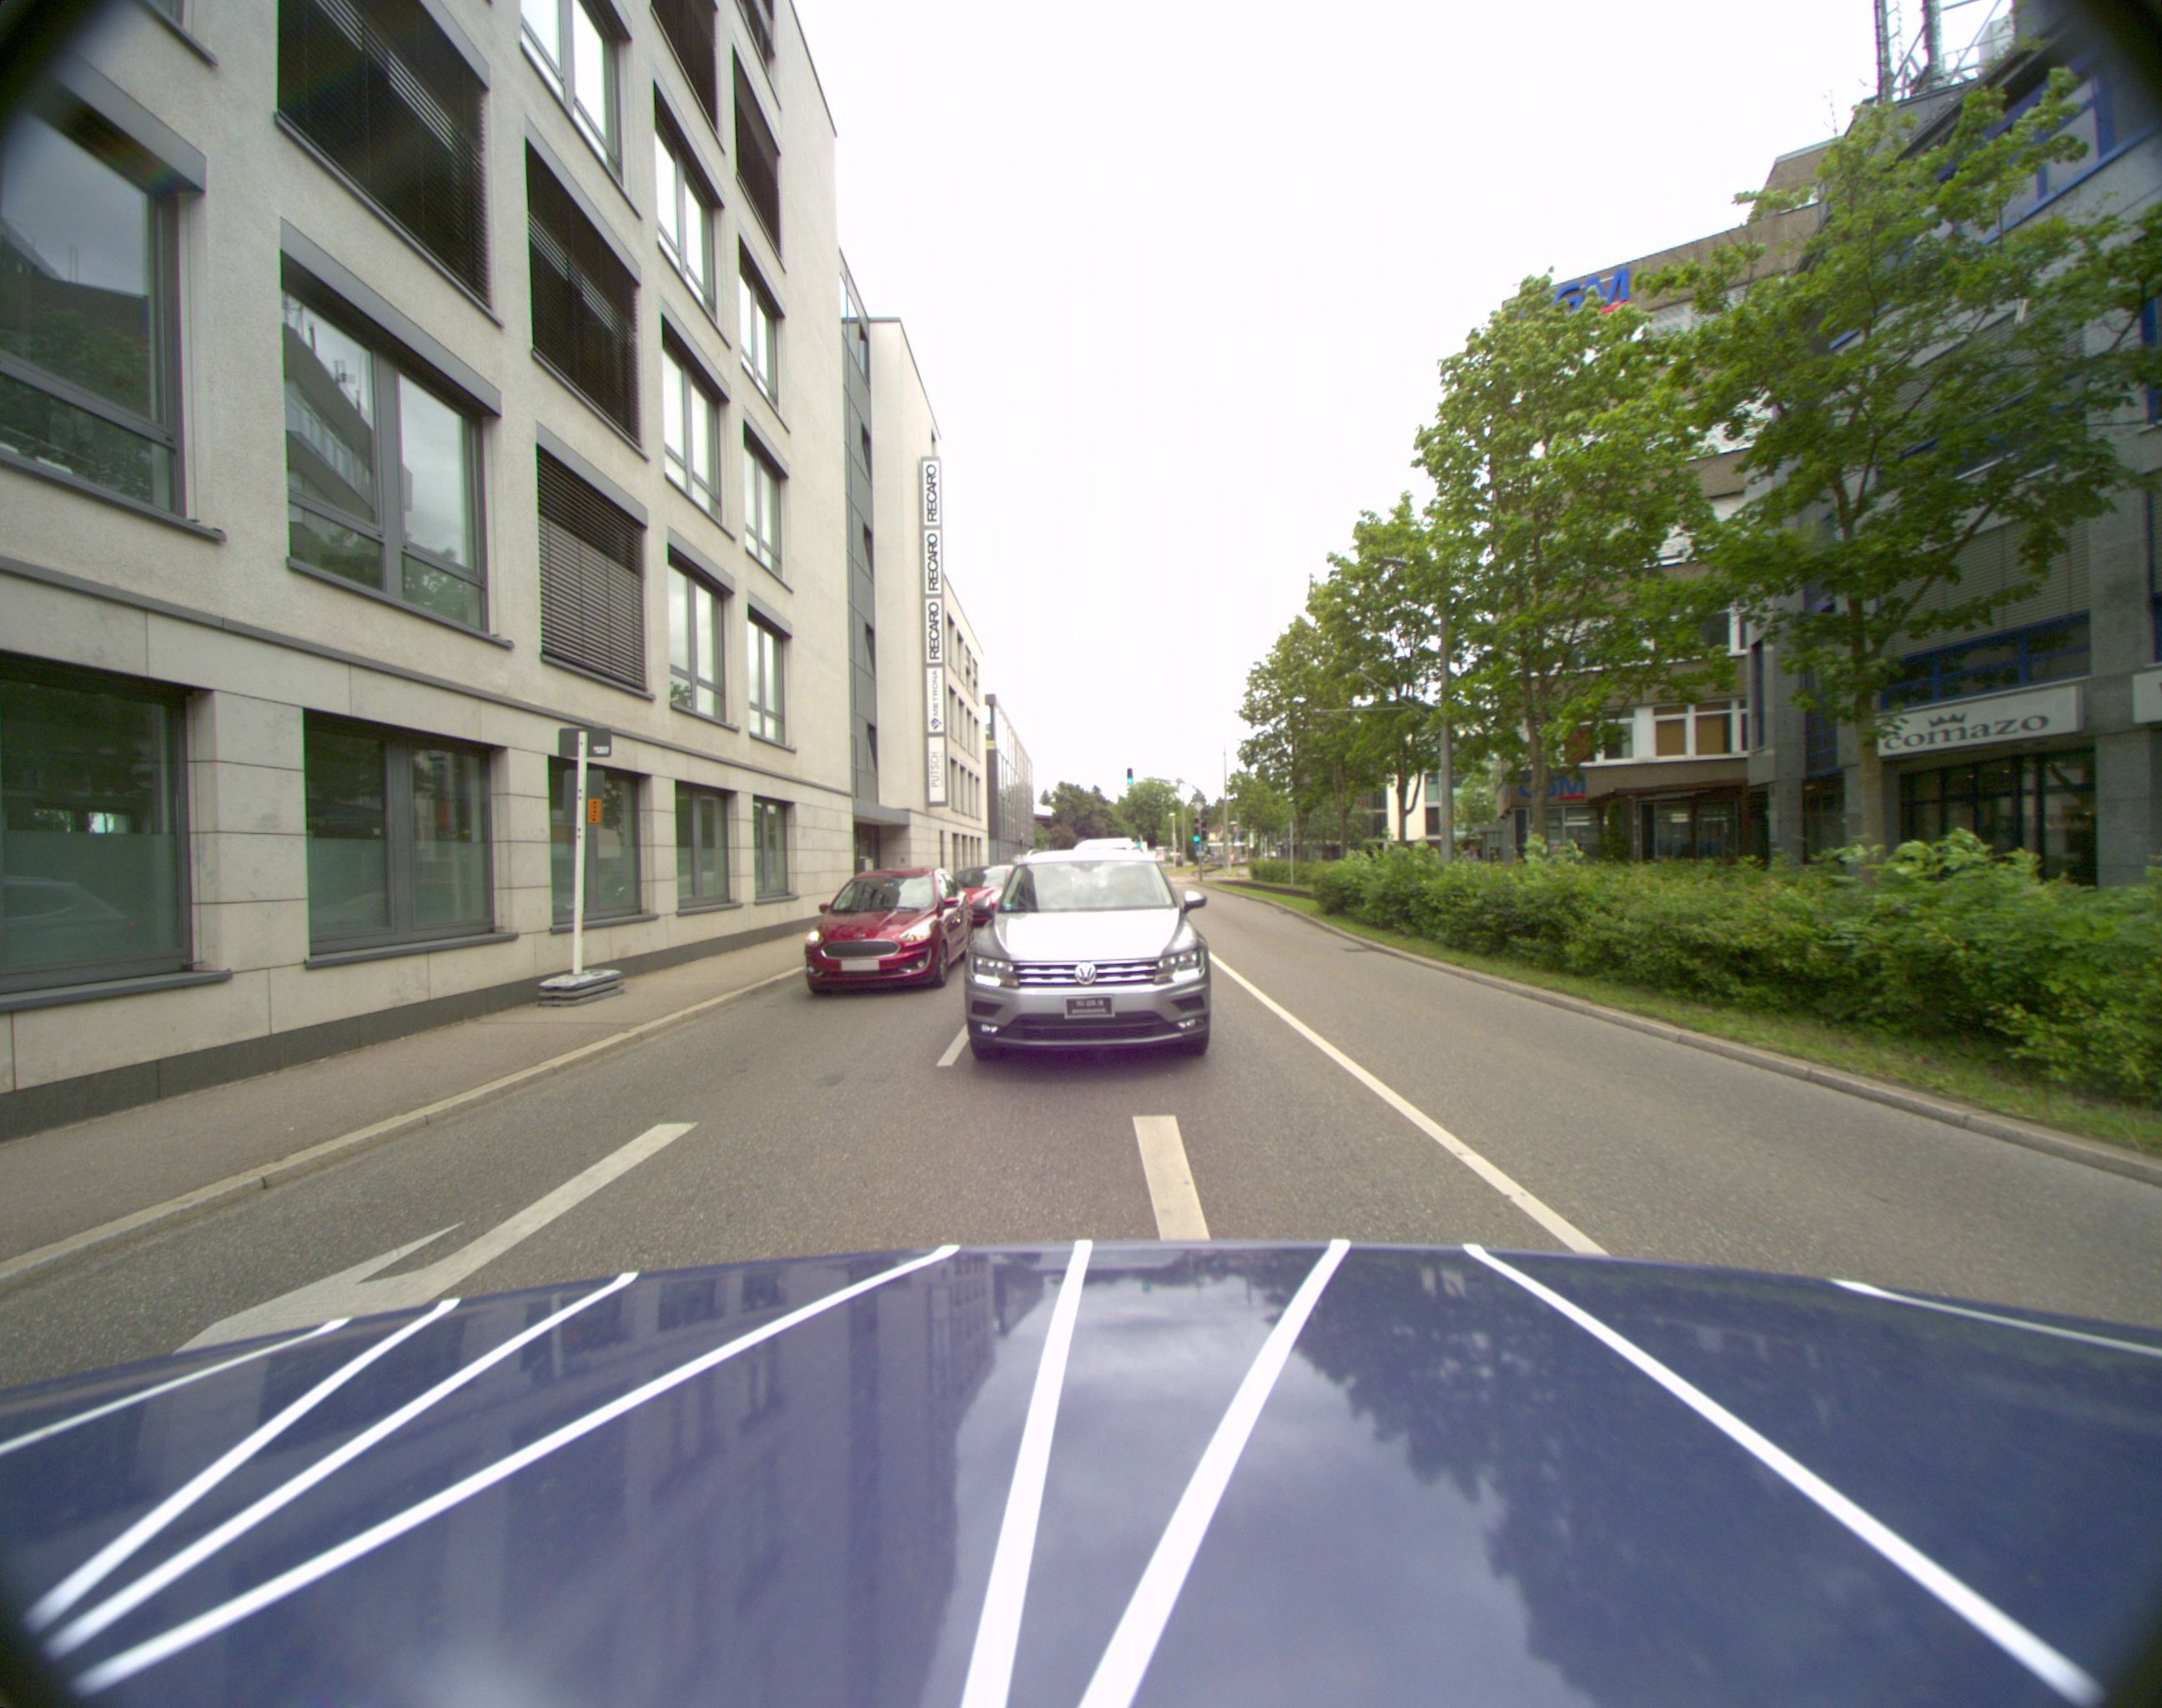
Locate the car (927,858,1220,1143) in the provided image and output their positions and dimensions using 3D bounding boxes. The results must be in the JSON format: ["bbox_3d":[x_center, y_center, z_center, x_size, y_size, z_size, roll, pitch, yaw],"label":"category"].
[{"bbox_3d":[-0.014,0.929,6.977,1.798,1.716,4.458,-1,0,1],"label":"car"}]

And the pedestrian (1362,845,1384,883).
[{"bbox_3d":[14.694,0.495,38.264,0.816,1.912,0.731,-2,1,0],"label":"pedestrian"}]

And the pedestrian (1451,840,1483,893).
[{"bbox_3d":[13.295,0.412,26.187,0.680,1.795,0.731,-2,1,-4],"label":"pedestrian"}]

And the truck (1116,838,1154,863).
[{"bbox_3d":[8.353,-0.642,117.086,2.317,3.626,8.024,-1,1,31],"label":"truck"}]

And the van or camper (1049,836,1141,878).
[{"bbox_3d":[0.979,0.186,54.355,6.153,2.718,2.112,-2,1,-11],"label":"van or camper"}]

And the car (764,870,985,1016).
[{"bbox_3d":[-2.611,1.060,10.694,1.890,1.483,4.000,-4,0,1],"label":"car"}]

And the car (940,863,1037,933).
[{"bbox_3d":[-2.245,1.032,19.520,1.825,1.449,4.408,-3,0,1],"label":"car"}]

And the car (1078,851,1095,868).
[{"bbox_3d":[0.720,0.660,96.183,1.998,2.002,4.000,-2,1,1],"label":"car"}]

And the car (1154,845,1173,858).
[{"bbox_3d":[13.929,-0.382,127.973,1.995,2.002,4.006,-1,1,24],"label":"car"}]
